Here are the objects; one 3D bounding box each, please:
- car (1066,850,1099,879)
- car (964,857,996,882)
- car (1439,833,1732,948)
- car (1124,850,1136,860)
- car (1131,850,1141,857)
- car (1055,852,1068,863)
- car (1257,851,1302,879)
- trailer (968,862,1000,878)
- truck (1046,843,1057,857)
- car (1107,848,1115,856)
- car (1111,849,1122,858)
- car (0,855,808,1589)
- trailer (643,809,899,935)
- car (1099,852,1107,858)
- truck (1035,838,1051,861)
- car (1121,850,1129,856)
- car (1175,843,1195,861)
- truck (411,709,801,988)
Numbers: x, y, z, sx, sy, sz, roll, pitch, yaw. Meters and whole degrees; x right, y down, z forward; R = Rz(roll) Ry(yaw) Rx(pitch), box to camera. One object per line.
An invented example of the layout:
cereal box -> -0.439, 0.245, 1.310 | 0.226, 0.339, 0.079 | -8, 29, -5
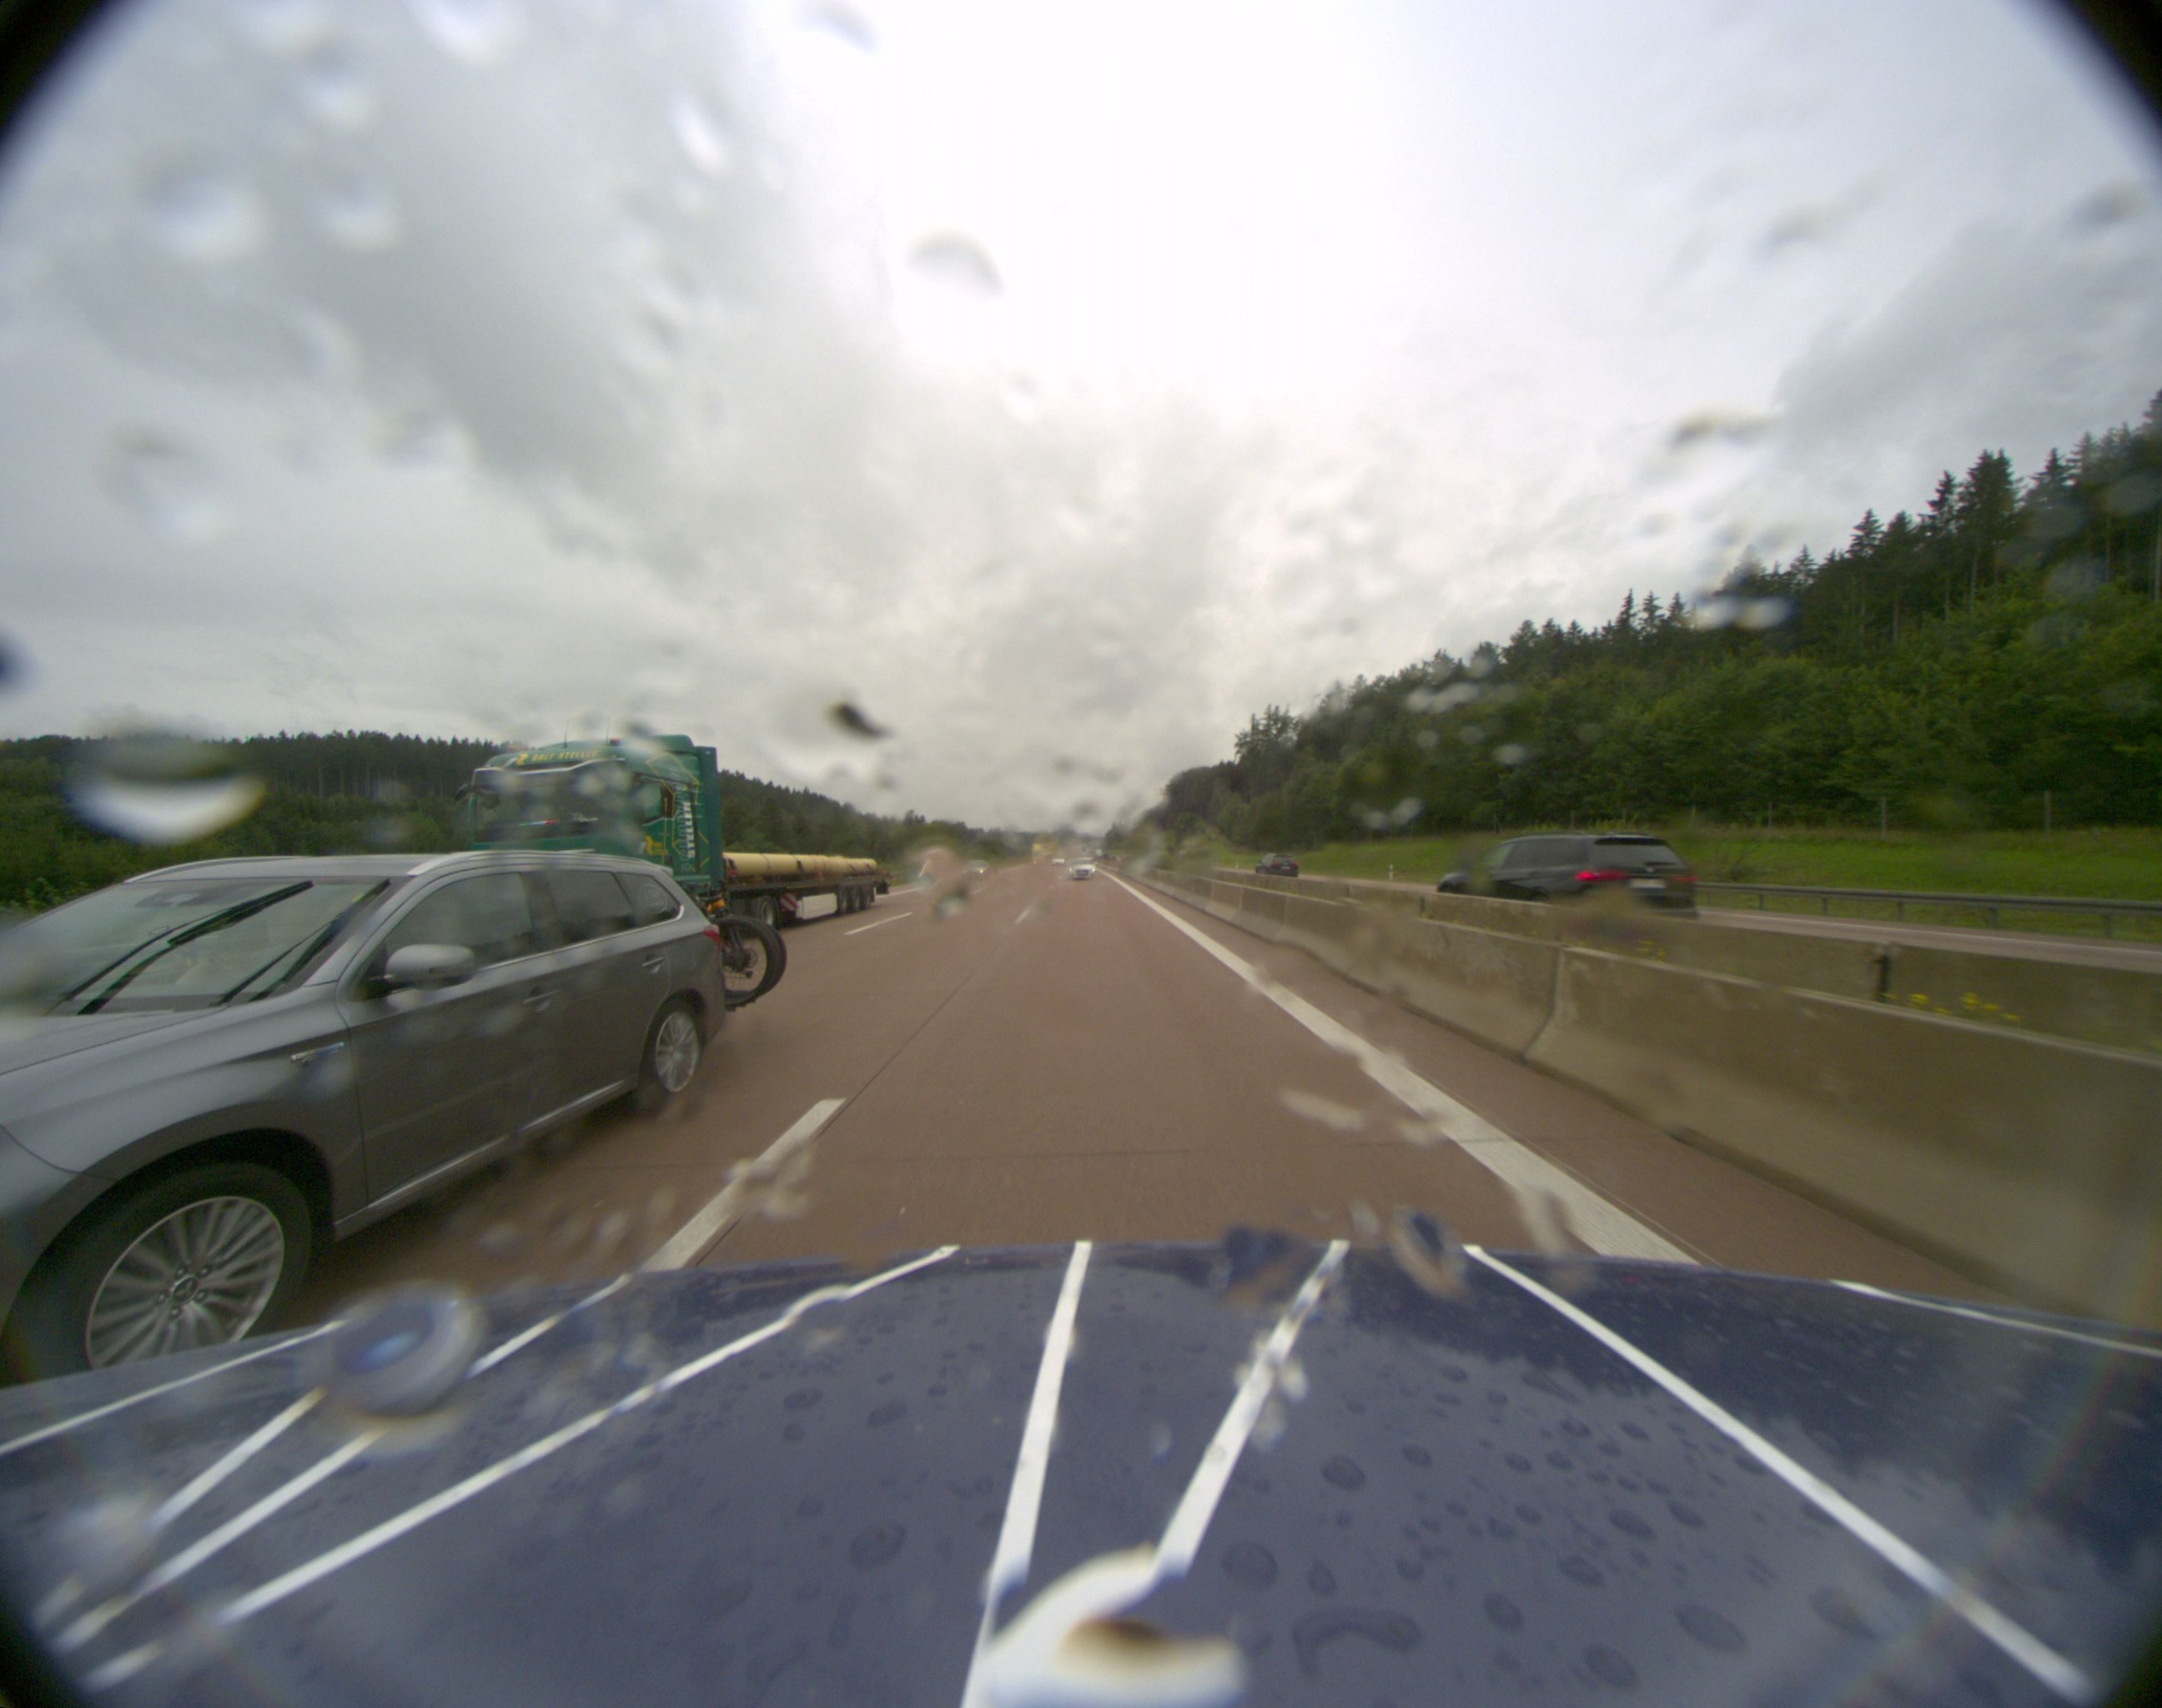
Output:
car -> 0.071, 0.634, 50.125 | 1.999, 1.623, 4.929 | -2, 1, -1
car -> -7.376, 1.086, 55.898 | 1.702, 1.602, 4.975 | -1, 1, -1
car -> 8.203, 0.513, 13.059 | 1.869, 1.542, 4.807 | -2, 0, 1
car -> 9.116, 0.141, 142.293 | 1.998, 1.816, 4.686 | -1, 0, 1
car -> 12.004, -0.039, 164.978 | 1.654, 1.381, 4.809 | 2, 0, -1
car -> -3.157, 0.548, 126.536 | 1.999, 1.623, 4.929 | -2, 1, -1
car -> 12.340, 0.632, 47.449 | 1.720, 1.573, 4.315 | 0, 1, 0
trailer -> -7.630, 1.243, 60.414 | 1.976, 1.159, 4.638 | -2, 0, -1
truck -> -9.740, -1.346, 252.644 | 3.190, 4.349, 14.699 | -2, 1, -1
car -> 9.996, -0.723, 252.527 | 2.108, 2.266, 5.393 | -2, 1, -2
car -> 7.999, -0.073, 170.878 | 1.999, 2.002, 5.525 | -1, 0, -1
car -> -3.540, 0.913, 3.999 | 1.998, 1.584, 5.818 | -2, 1, 0
trailer -> -8.209, 0.265, 22.510 | 2.888, 2.660, 11.394 | -2, 1, -1
car -> 6.616, 0.314, 229.477 | 1.862, 1.697, 6.161 | -2, 1, -1
truck -> -7.339, -0.906, 147.754 | 2.610, 4.190, 6.248 | -2, 2, -1
car -> 12.003, -0.251, 207.949 | 1.793, 1.548, 4.864 | 1, 0, -1
car -> 15.804, -0.301, 115.575 | 2.229, 2.570, 6.253 | -2, 1, 1
truck -> -8.164, -0.156, 14.527 | 2.904, 3.942, 6.986 | -2, 2, -1
